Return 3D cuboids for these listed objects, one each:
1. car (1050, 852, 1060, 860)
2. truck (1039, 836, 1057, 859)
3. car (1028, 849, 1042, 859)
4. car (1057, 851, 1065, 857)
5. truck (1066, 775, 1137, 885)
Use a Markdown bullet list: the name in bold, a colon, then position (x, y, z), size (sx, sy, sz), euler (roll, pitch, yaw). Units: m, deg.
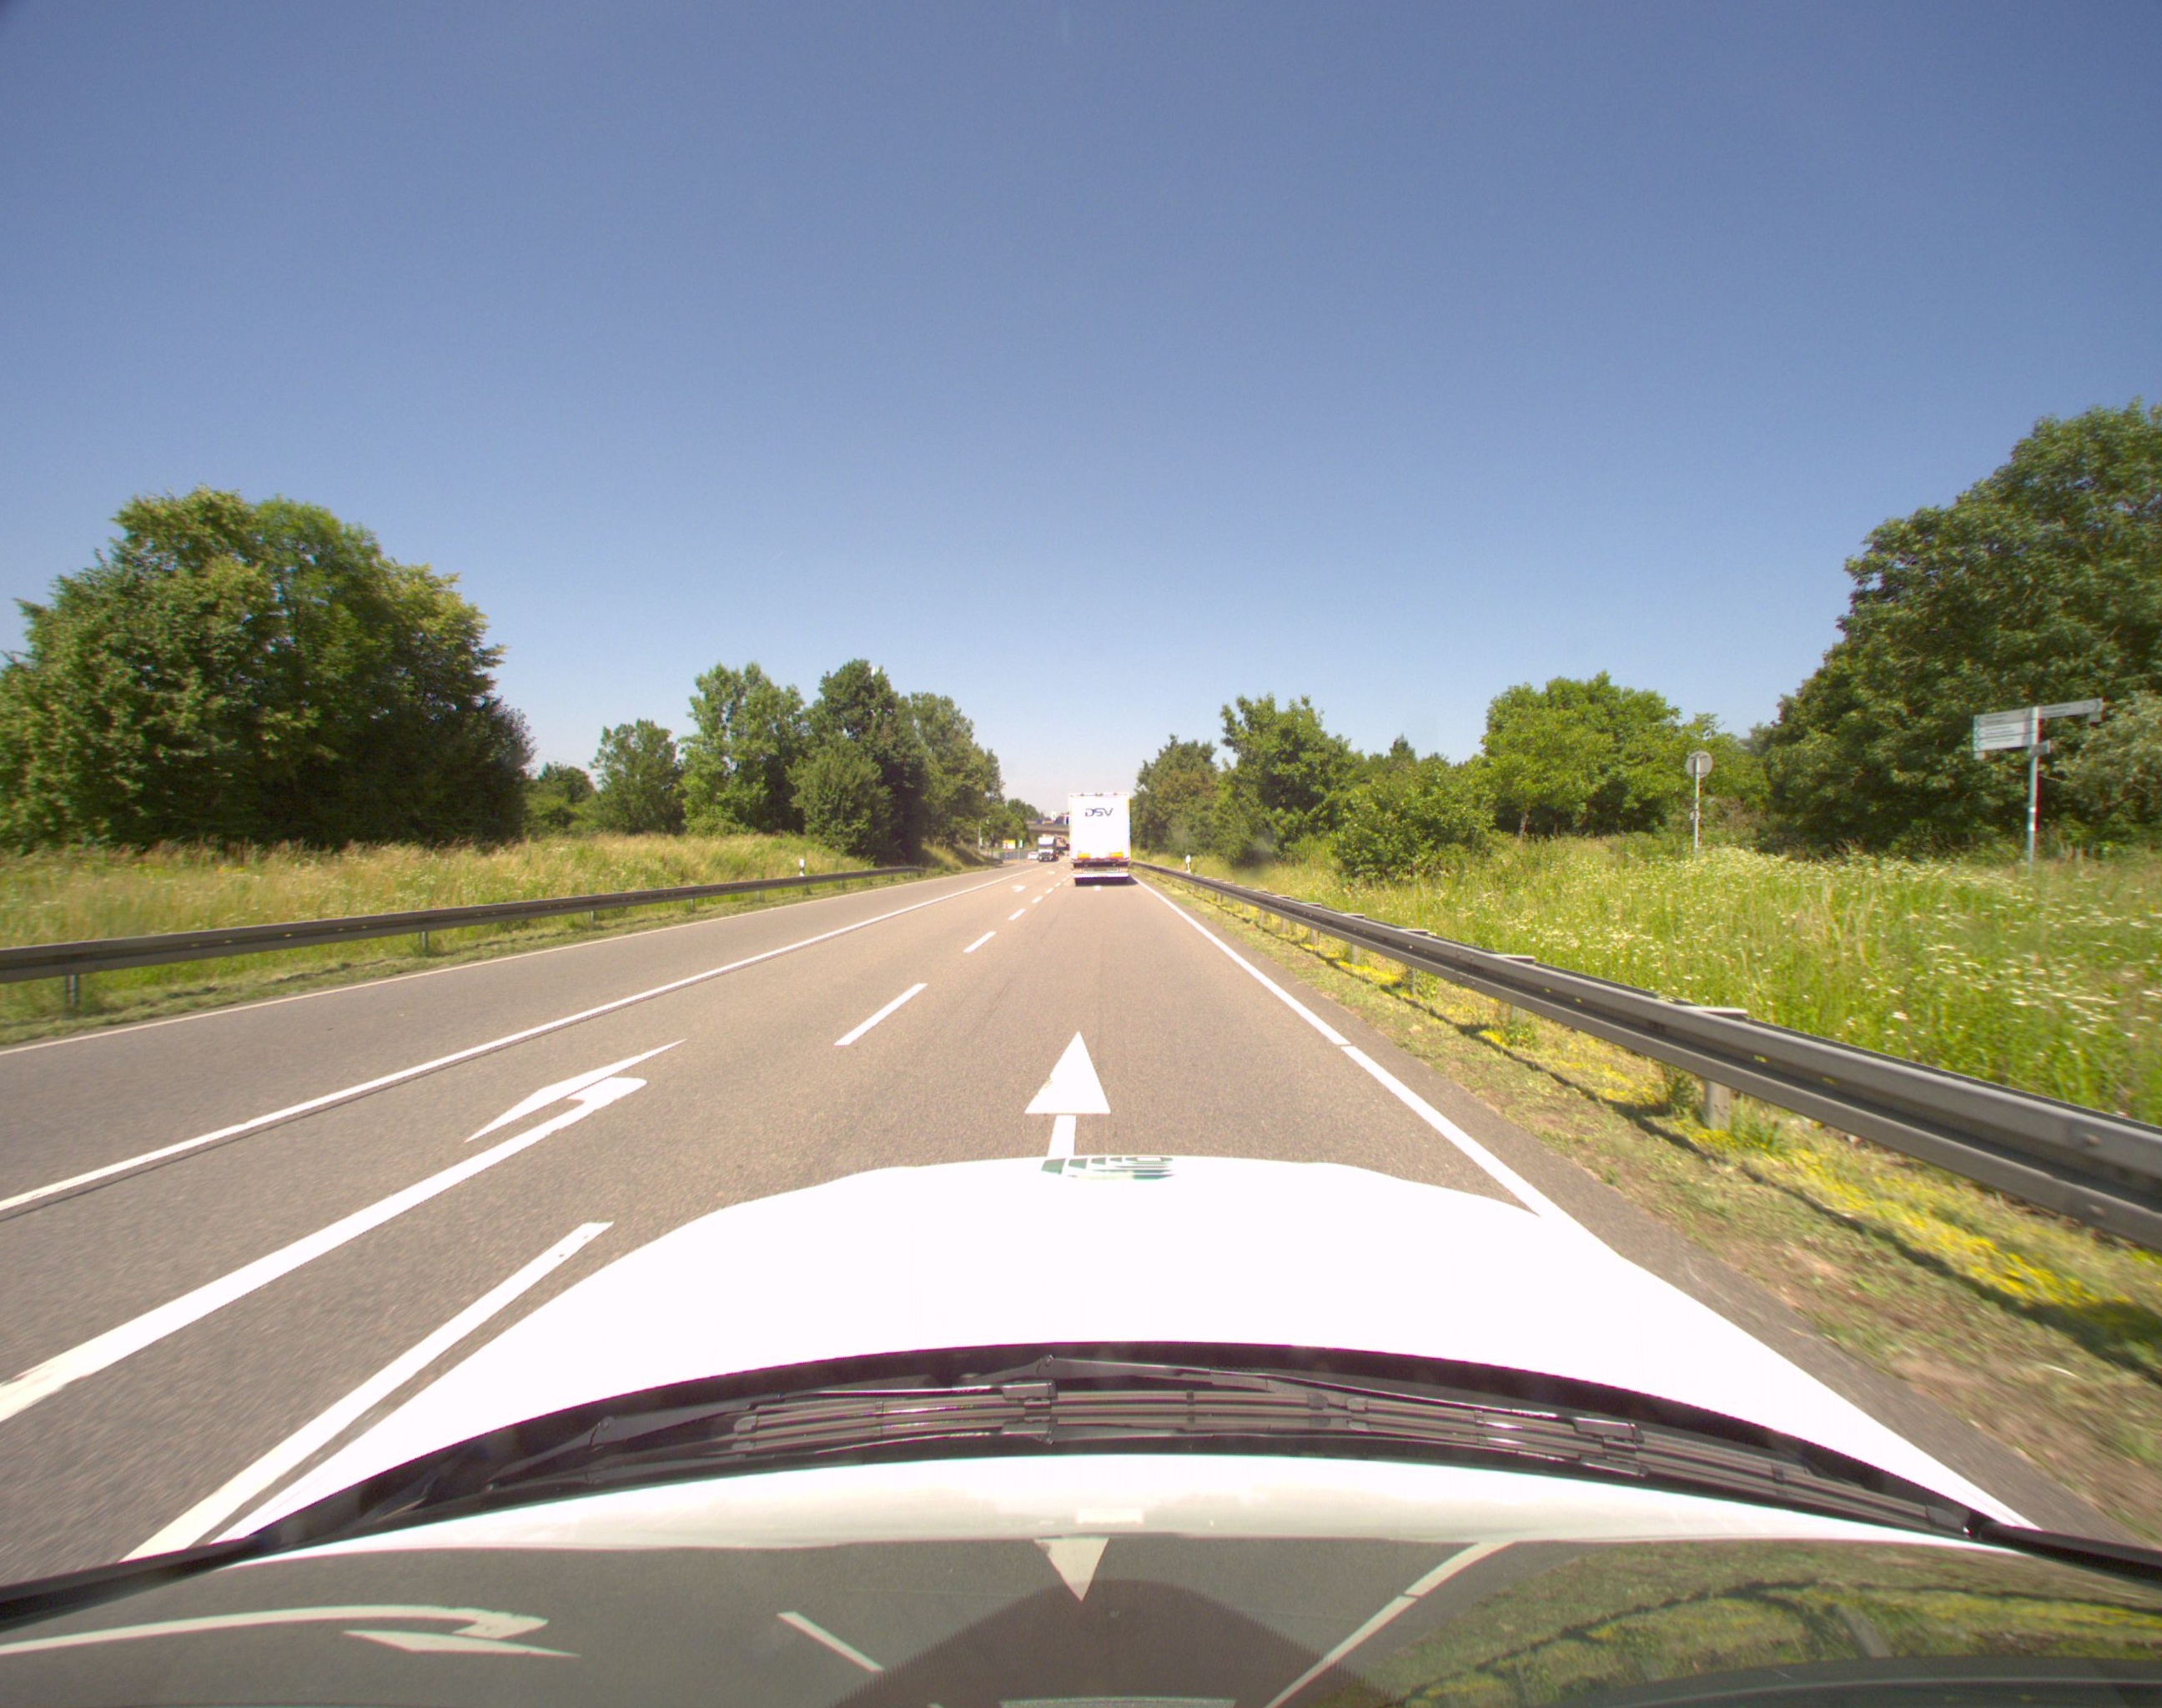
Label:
- **car**: position (-4.993, 0.398, 158.250), size (1.741, 1.626, 3.703), euler (-1, 1, 0)
- **truck**: position (-5.675, -1.092, 140.680), size (2.345, 3.749, 12.626), euler (-1, 1, 1)
- **car**: position (-8.795, -0.031, 155.944), size (1.792, 1.872, 4.427), euler (-1, 1, 6)
- **car**: position (-5.092, 0.009, 208.884), size (1.741, 1.626, 3.703), euler (-1, 1, 0)
- **truck**: position (1.030, -1.033, 39.245), size (2.938, 4.568, 9.867), euler (-1, 0, 2)
